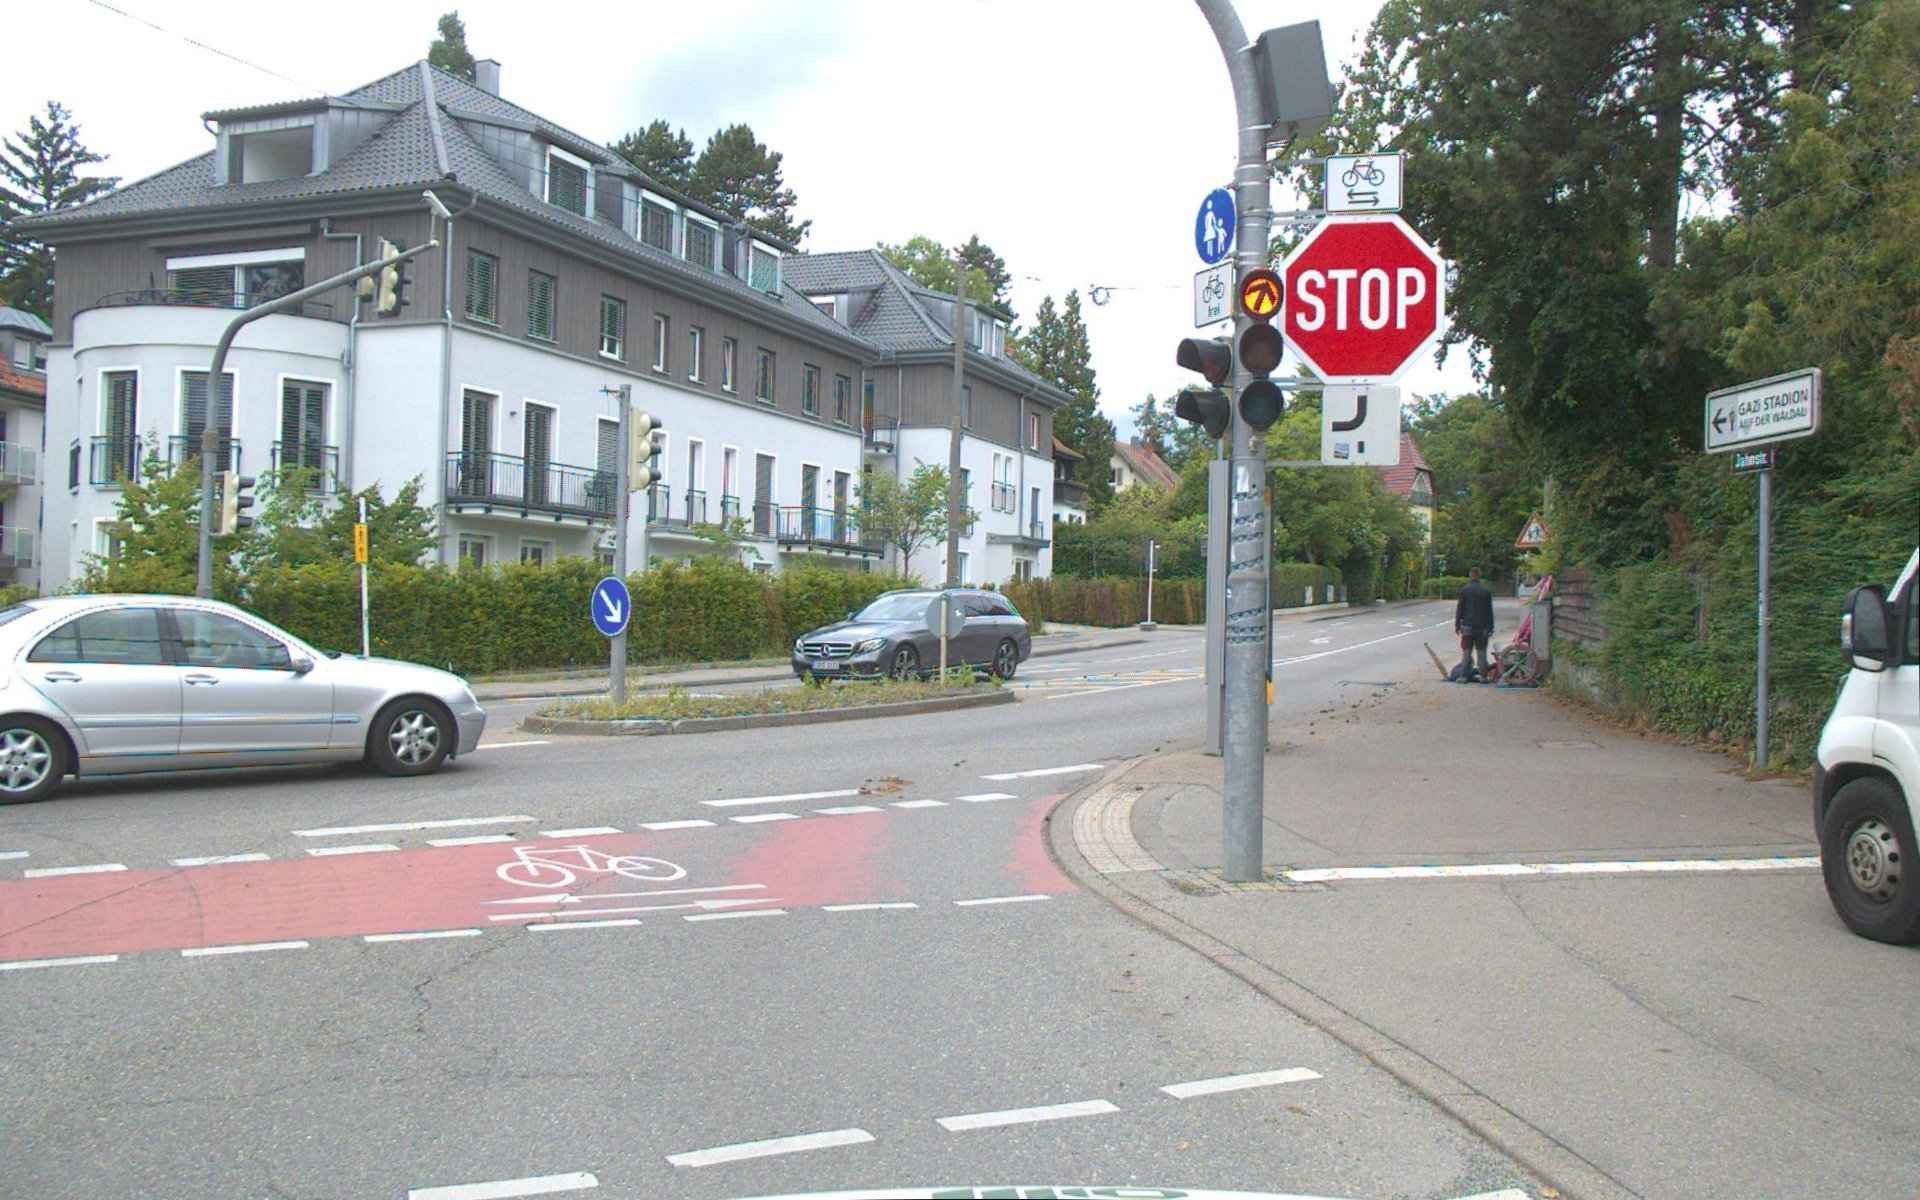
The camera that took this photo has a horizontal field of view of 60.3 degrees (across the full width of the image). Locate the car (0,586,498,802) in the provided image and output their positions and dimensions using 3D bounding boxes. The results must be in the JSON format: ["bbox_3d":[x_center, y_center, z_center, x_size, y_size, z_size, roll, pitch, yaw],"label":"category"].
[{"bbox_3d":[-5.895,0.625,12.458,4.371,1.438,1.690,0,1,-34],"label":"car"}]

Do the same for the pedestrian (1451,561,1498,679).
[{"bbox_3d":[8.549,0.332,27.508,0.584,1.940,0.558,1,0,0],"label":"pedestrian"}]

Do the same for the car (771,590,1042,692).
[{"bbox_3d":[-0.725,0.574,26.057,1.905,1.428,4.728,1,1,34],"label":"car"}]

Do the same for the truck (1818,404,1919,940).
[{"bbox_3d":[5.131,0.321,5.018,2.162,2.283,5.724,1,0,1],"label":"truck"}]
